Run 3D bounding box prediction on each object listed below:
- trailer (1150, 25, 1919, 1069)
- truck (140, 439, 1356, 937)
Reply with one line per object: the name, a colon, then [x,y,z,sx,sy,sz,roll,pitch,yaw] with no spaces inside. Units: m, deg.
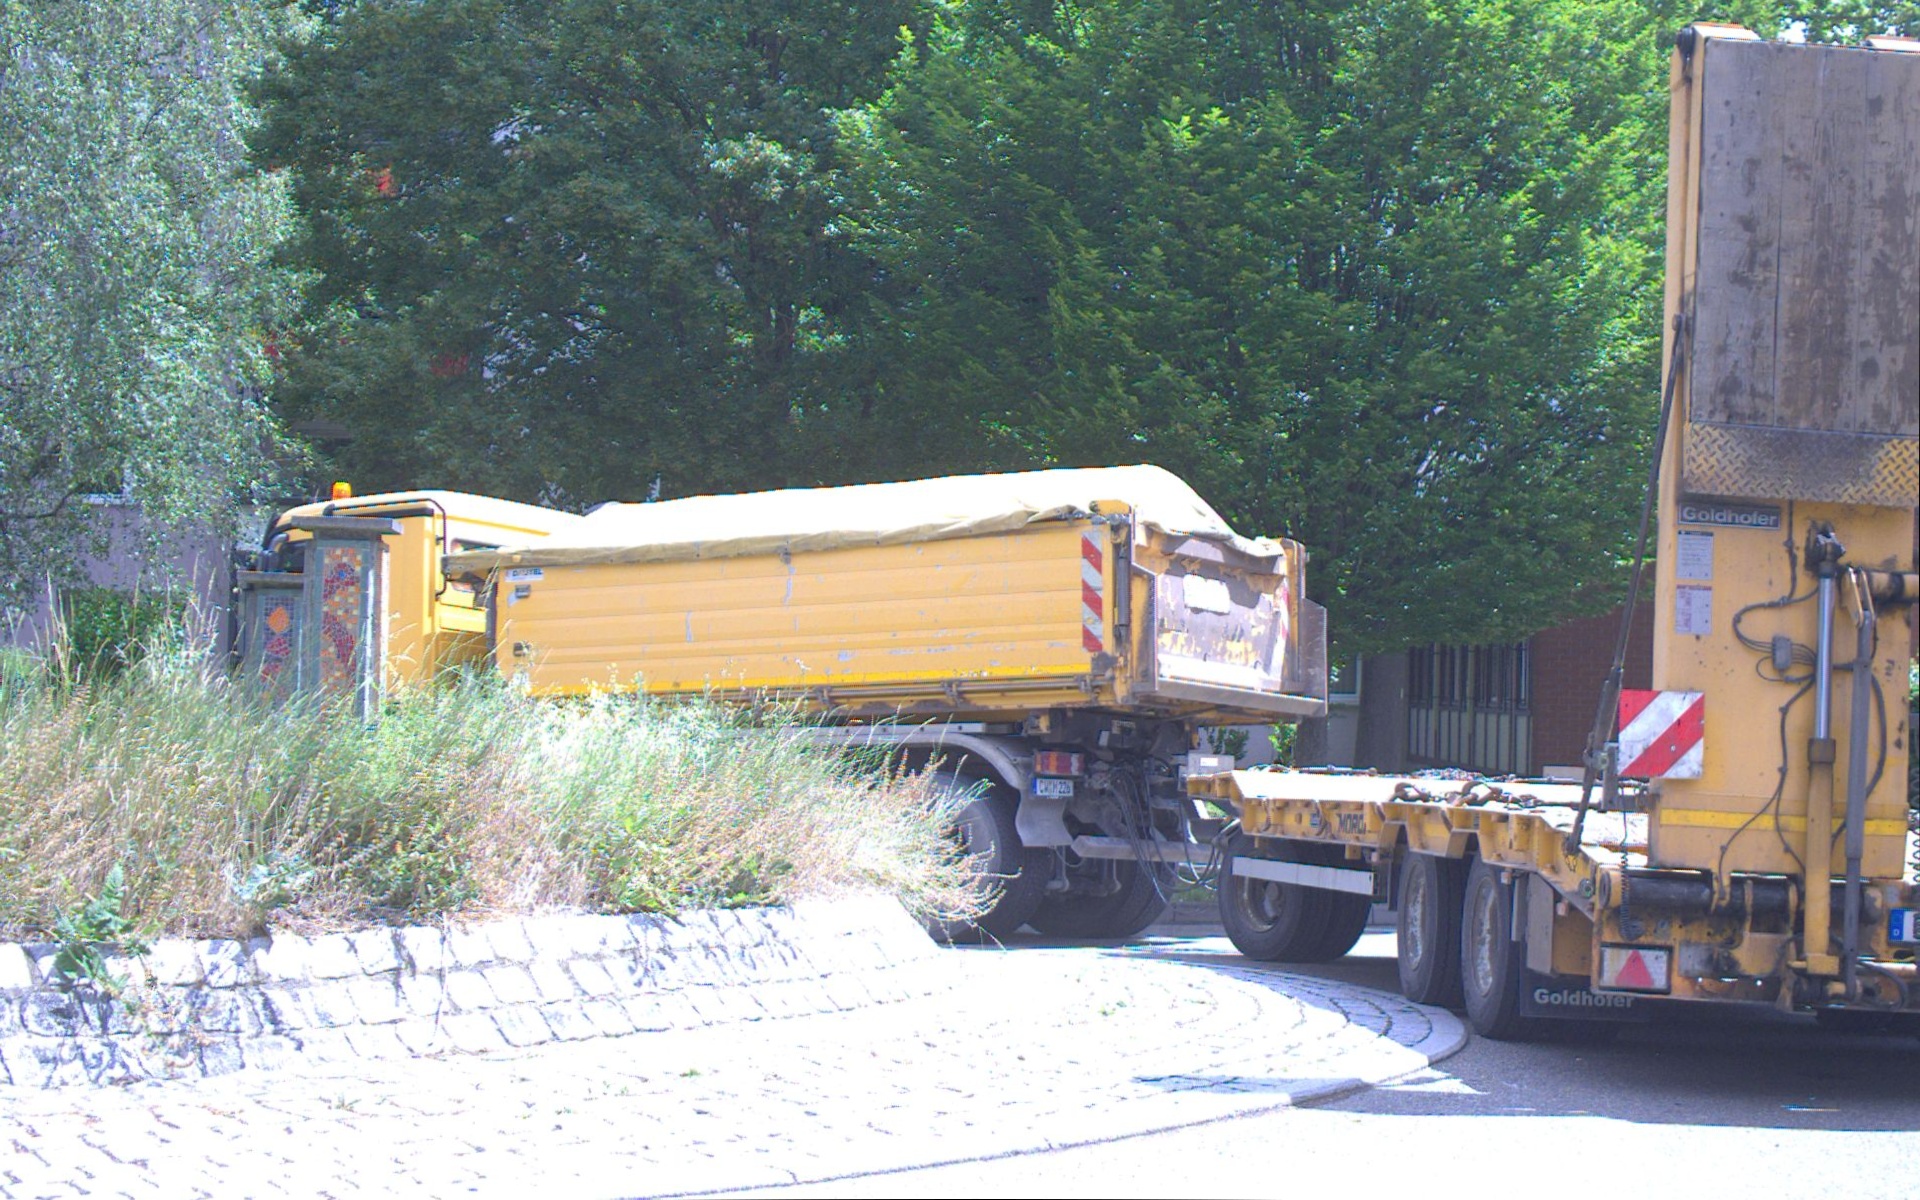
trailer: [3.104,0.020,16.681,2.863,3.361,10.841,3,-2,-4]
truck: [-1.690,0.549,24.436,8.473,3.025,2.992,0,-1,33]
